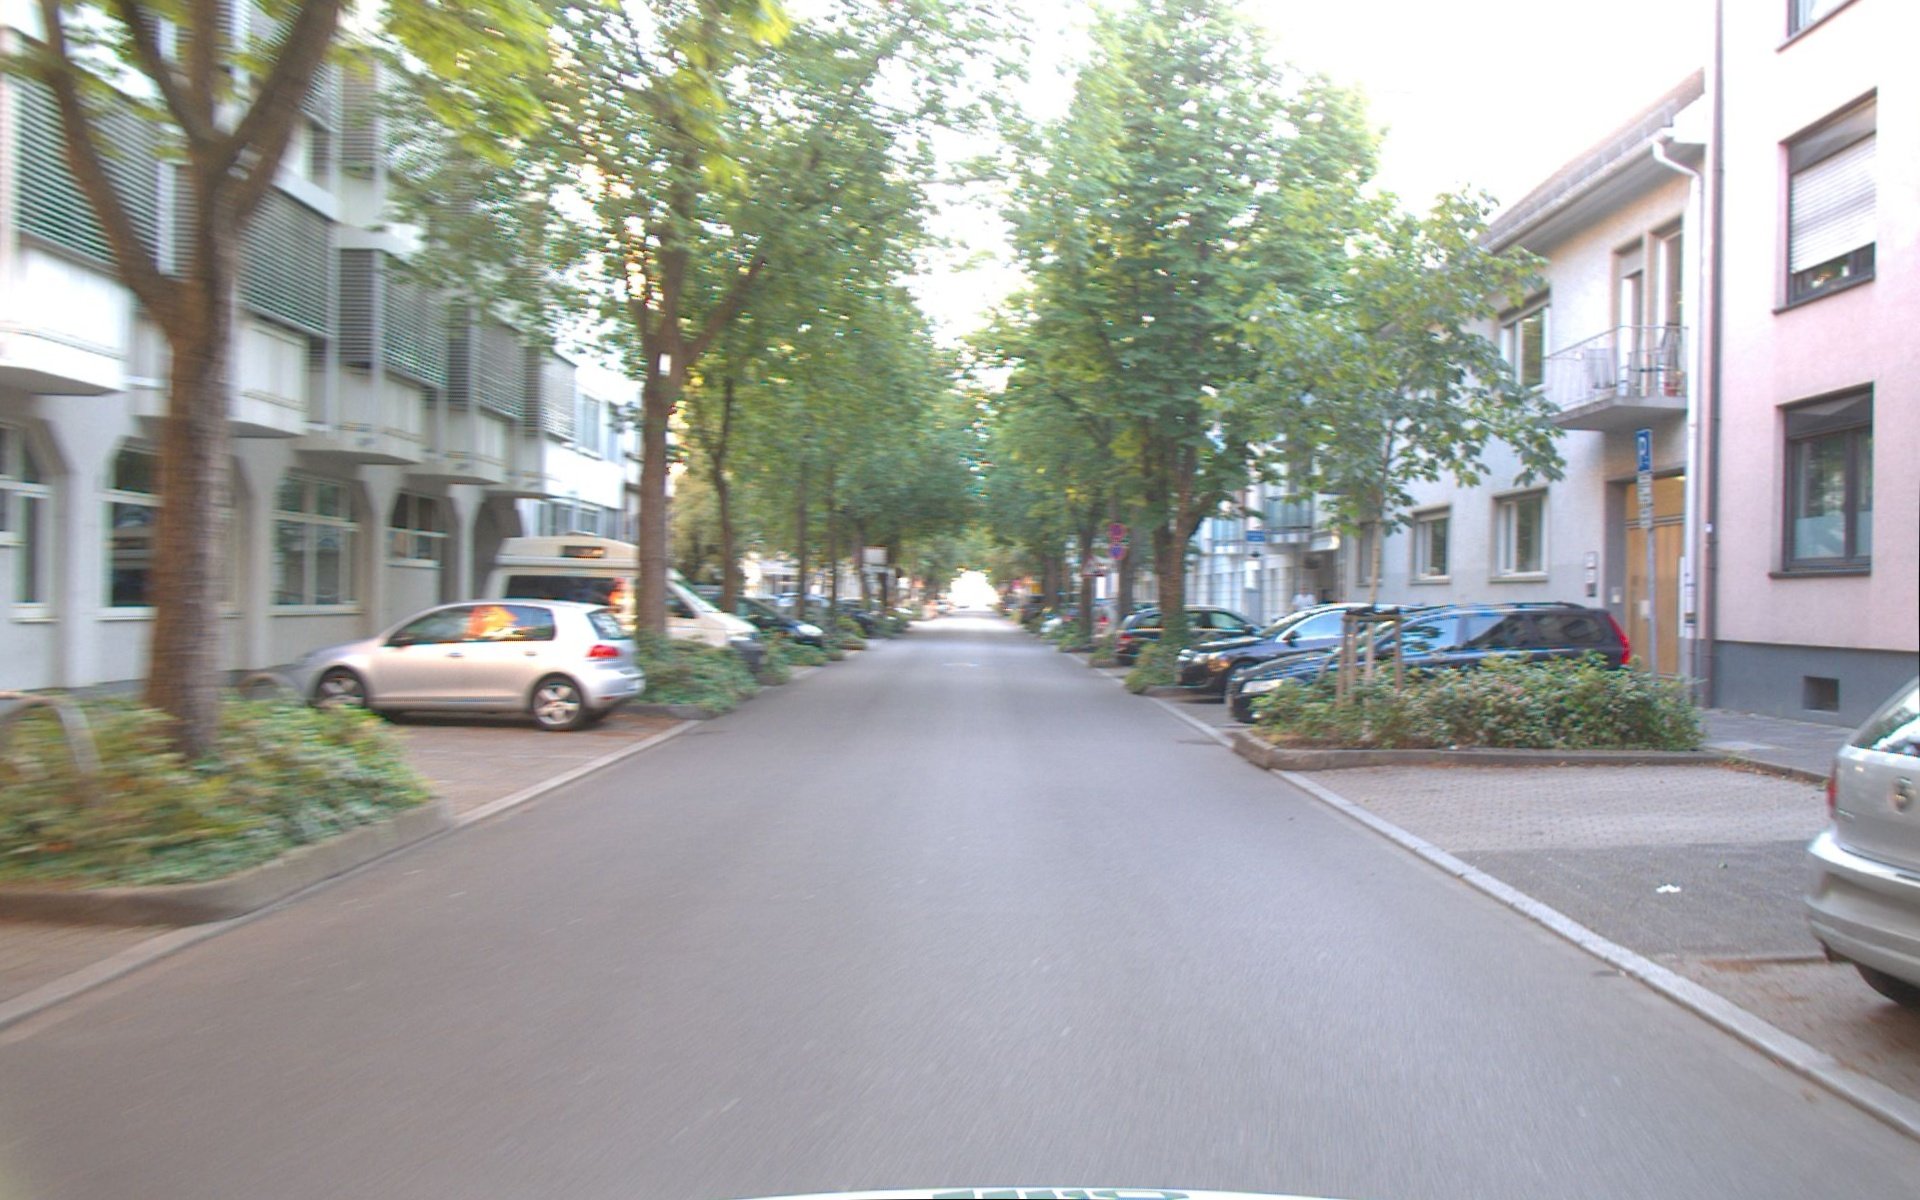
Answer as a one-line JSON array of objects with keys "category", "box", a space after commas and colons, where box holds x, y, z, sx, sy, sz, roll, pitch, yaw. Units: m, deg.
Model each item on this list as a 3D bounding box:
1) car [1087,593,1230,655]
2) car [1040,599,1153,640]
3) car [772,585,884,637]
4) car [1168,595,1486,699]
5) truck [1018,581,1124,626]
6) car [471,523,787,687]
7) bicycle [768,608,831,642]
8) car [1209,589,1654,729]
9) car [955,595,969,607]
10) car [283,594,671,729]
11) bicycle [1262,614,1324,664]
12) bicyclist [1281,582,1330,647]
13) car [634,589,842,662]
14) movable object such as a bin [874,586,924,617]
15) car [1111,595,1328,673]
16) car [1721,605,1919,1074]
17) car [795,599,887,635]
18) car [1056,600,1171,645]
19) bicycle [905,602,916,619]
[{"category": "car", "box": [5.749, 0.686, 48.222, 3.888, 1.613, 1.916, -2, 0, 0]}, {"category": "car", "box": [5.605, 0.814, 68.298, 4.506, 1.494, 1.796, -2, 0, 0]}, {"category": "car", "box": [-5.363, 0.442, 67.618, 4.413, 1.989, 2.000, 1, 0, -1]}, {"category": "car", "box": [5.703, 0.721, 26.172, 4.581, 1.412, 2.001, -2, 0, 2]}, {"category": "truck", "box": [6.105, 0.189, 91.515, 5.766, 2.351, 2.213, 1, 0, 1]}, {"category": "car", "box": [-5.549, 0.077, 28.209, 4.900, 2.618, 2.121, 1, 0, 0]}, {"category": "bicycle", "box": [-4.141, 0.640, 42.770, 1.520, 0.845, 0.613, 1, 0, 3]}, {"category": "car", "box": [5.470, 0.670, 19.708, 4.739, 1.473, 2.043, -1, 0, 3]}, {"category": "car", "box": [0.319, 0.110, 245.789, 1.969, 1.641, 4.119, 2, 1, -1]}, {"category": "car", "box": [-5.727, 0.703, 19.999, 4.082, 1.494, 1.953, 1, 0, 1]}, {"category": "bicycle", "box": [8.385, 0.962, 41.815, 0.608, 1.184, 3.397, 1, 0, -5]}, {"category": "bicyclist", "box": [8.792, 0.358, 42.116, 0.951, 1.632, 1.135, 0, 0, -4]}, {"category": "car", "box": [-5.380, 0.614, 40.650, 4.752, 1.650, 2.160, 1, 0, 1]}, {"category": "movable object such as a bin", "box": [-4.979, 0.110, 134.256, 3.967, 2.425, 2.781, 1, 0, -5]}, {"category": "car", "box": [5.411, 0.700, 35.024, 4.365, 1.452, 2.012, -2, 0, 5]}, {"category": "car", "box": [5.115, 0.813, 5.882, 4.000, 1.516, 1.797, 1, 0, -3]}, {"category": "car", "box": [-5.225, 0.736, 72.838, 3.906, 1.489, 1.922, 1, 0, -1]}, {"category": "car", "box": [5.737, 0.824, 62.273, 4.004, 1.476, 1.933, -2, 0, -5]}, {"category": "bicycle", "box": [-3.566, 0.775, 119.710, 0.669, 1.173, 1.979, 1, 0, -5]}]
